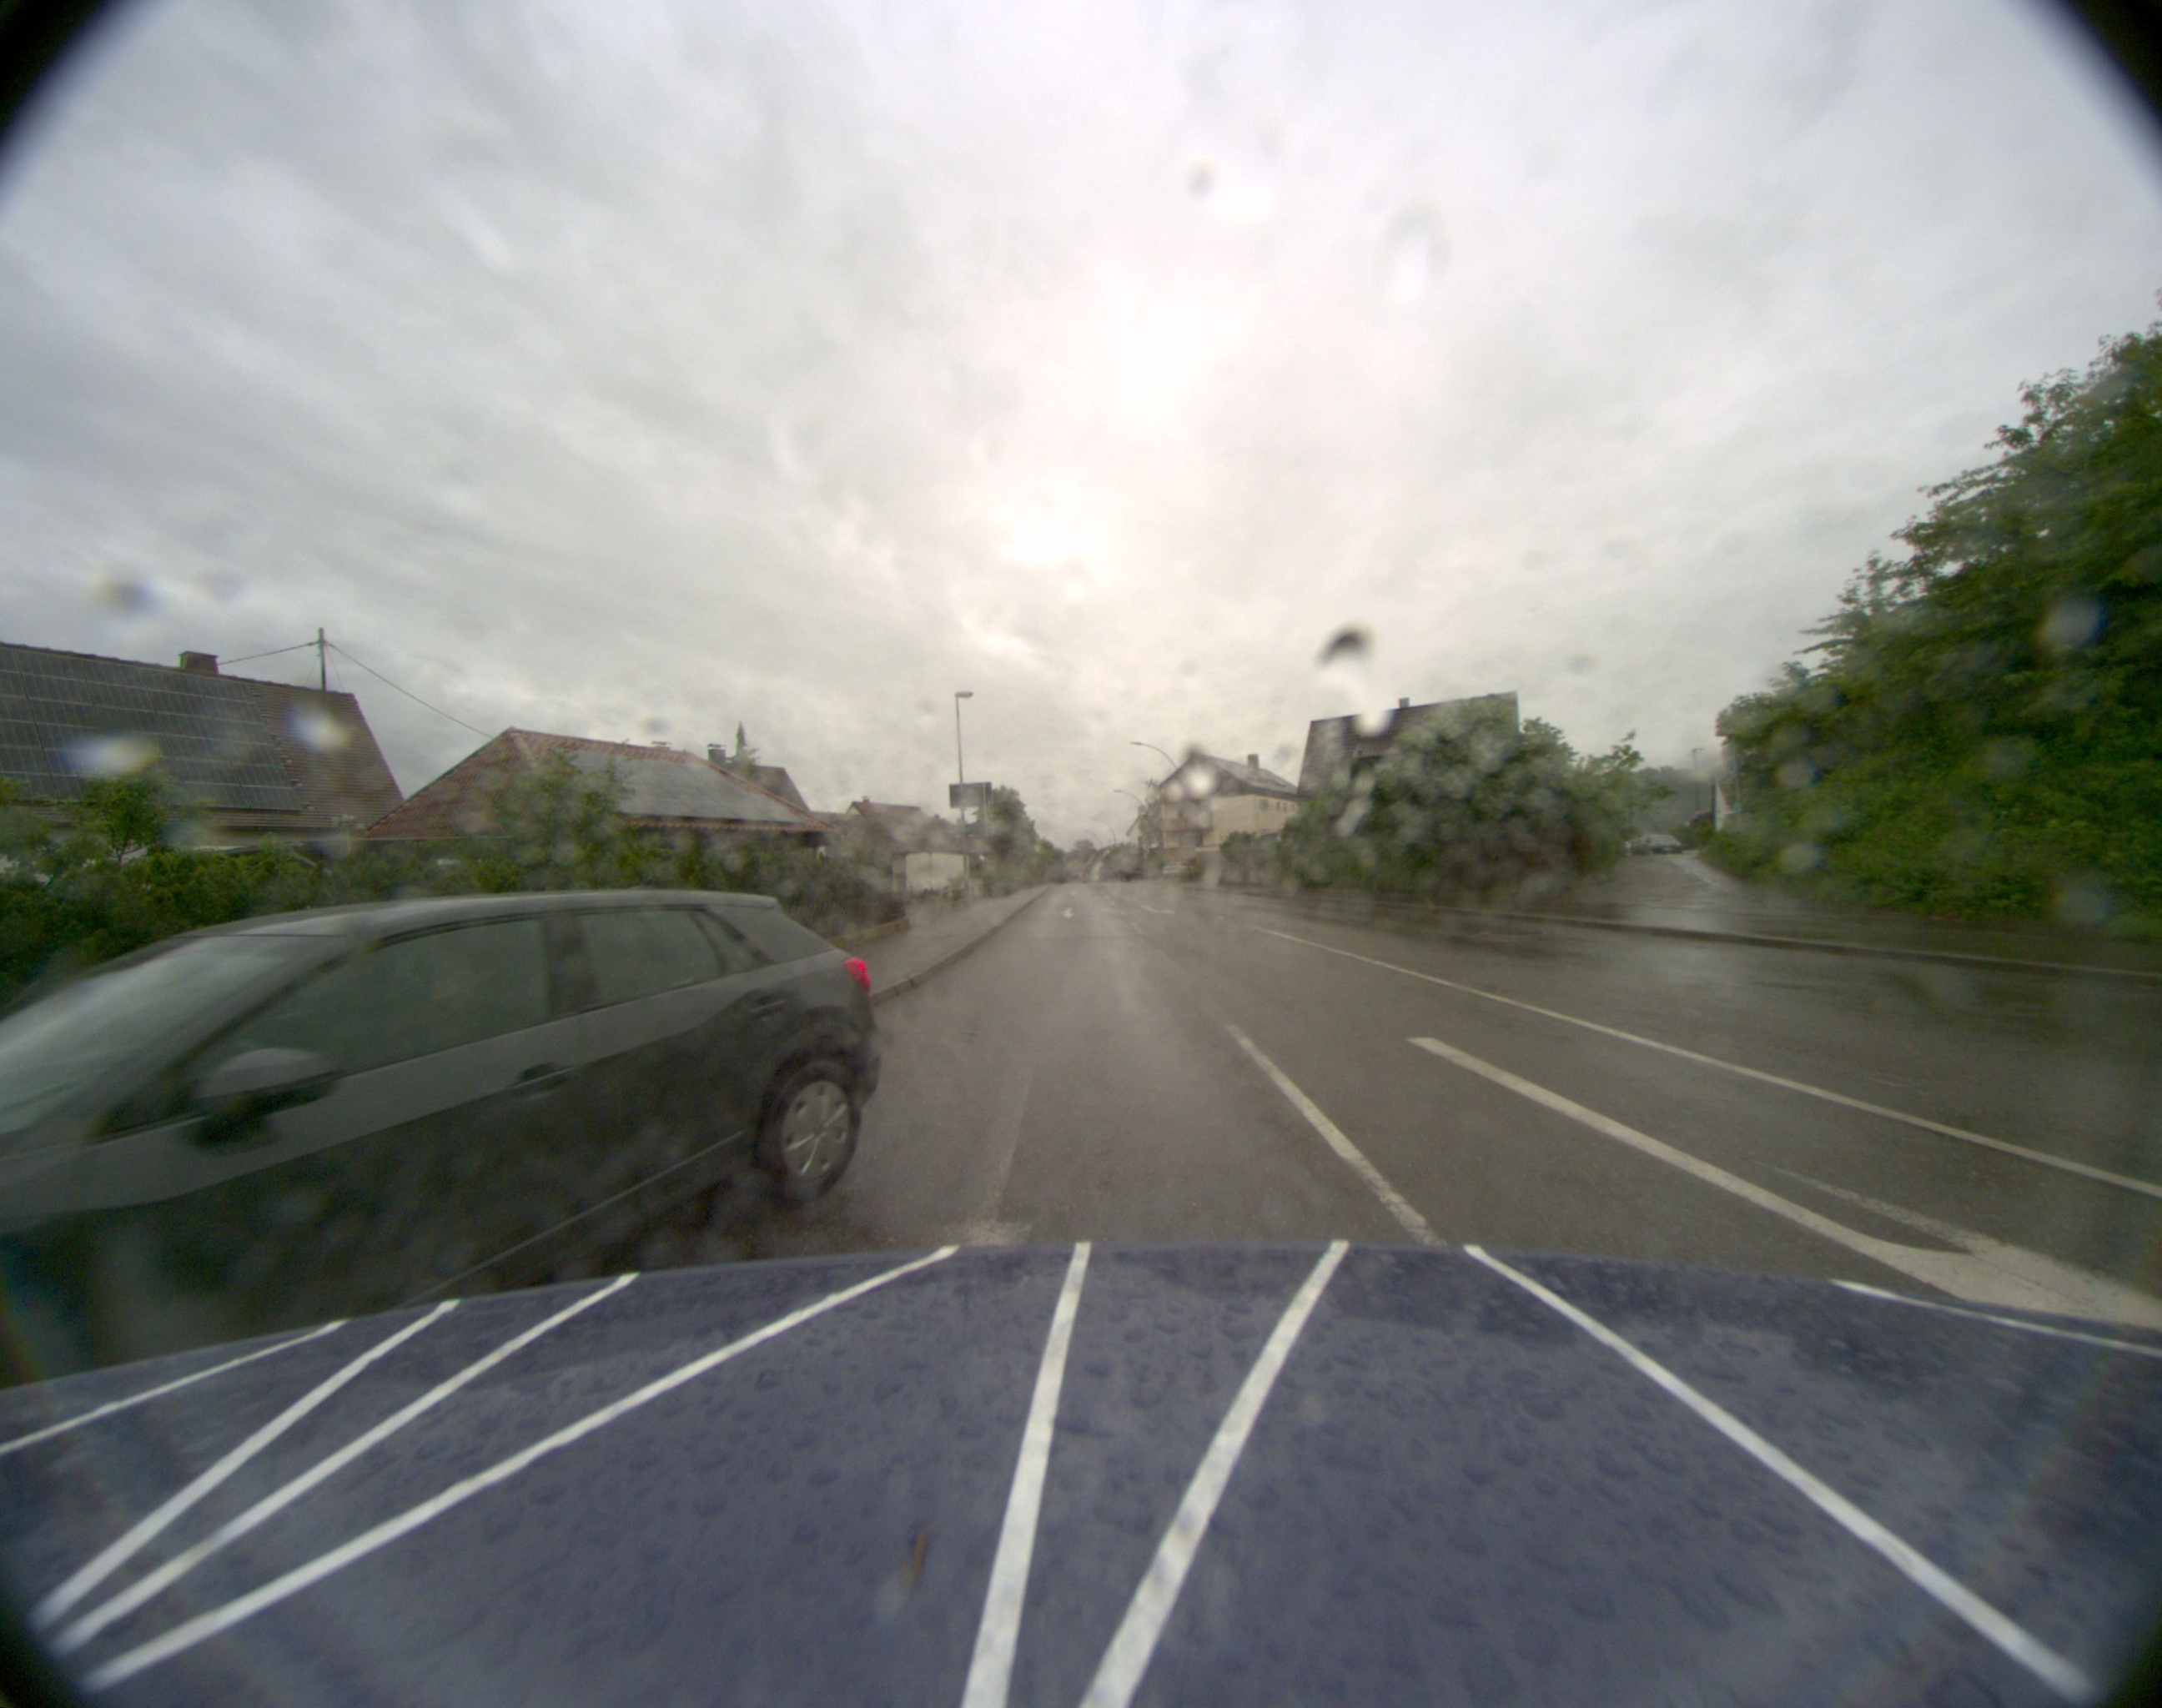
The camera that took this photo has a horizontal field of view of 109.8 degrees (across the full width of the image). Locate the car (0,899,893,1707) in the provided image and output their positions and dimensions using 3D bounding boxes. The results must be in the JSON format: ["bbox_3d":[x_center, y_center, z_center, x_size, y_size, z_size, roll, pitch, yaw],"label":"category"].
[{"bbox_3d":[-2.579,1.072,2.425,1.685,1.486,3.945,-5,-1,24],"label":"car"}]

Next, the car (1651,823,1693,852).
[{"bbox_3d":[41.129,-1.141,52.865,1.995,1.848,4.008,-3,0,41],"label":"car"}]

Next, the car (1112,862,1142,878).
[{"bbox_3d":[5.219,1.788,85.750,1.996,1.658,4.422,-3,0,21],"label":"car"}]

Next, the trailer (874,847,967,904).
[{"bbox_3d":[-7.723,0.997,37.006,1.645,2.502,4.712,-3,-1,29],"label":"trailer"}]

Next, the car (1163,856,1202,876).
[{"bbox_3d":[8.968,1.064,67.148,1.864,1.510,4.007,-3,0,32],"label":"car"}]

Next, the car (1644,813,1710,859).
[{"bbox_3d":[22.966,-0.698,29.227,1.706,1.579,3.669,-2,0,42],"label":"car"}]

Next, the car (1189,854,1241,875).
[{"bbox_3d":[10.747,0.850,61.200,3.661,1.510,1.758,-3,0,35],"label":"car"}]

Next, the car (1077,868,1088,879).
[{"bbox_3d":[0.329,3.741,147.621,1.932,1.864,4.000,-3,0,0],"label":"car"}]
